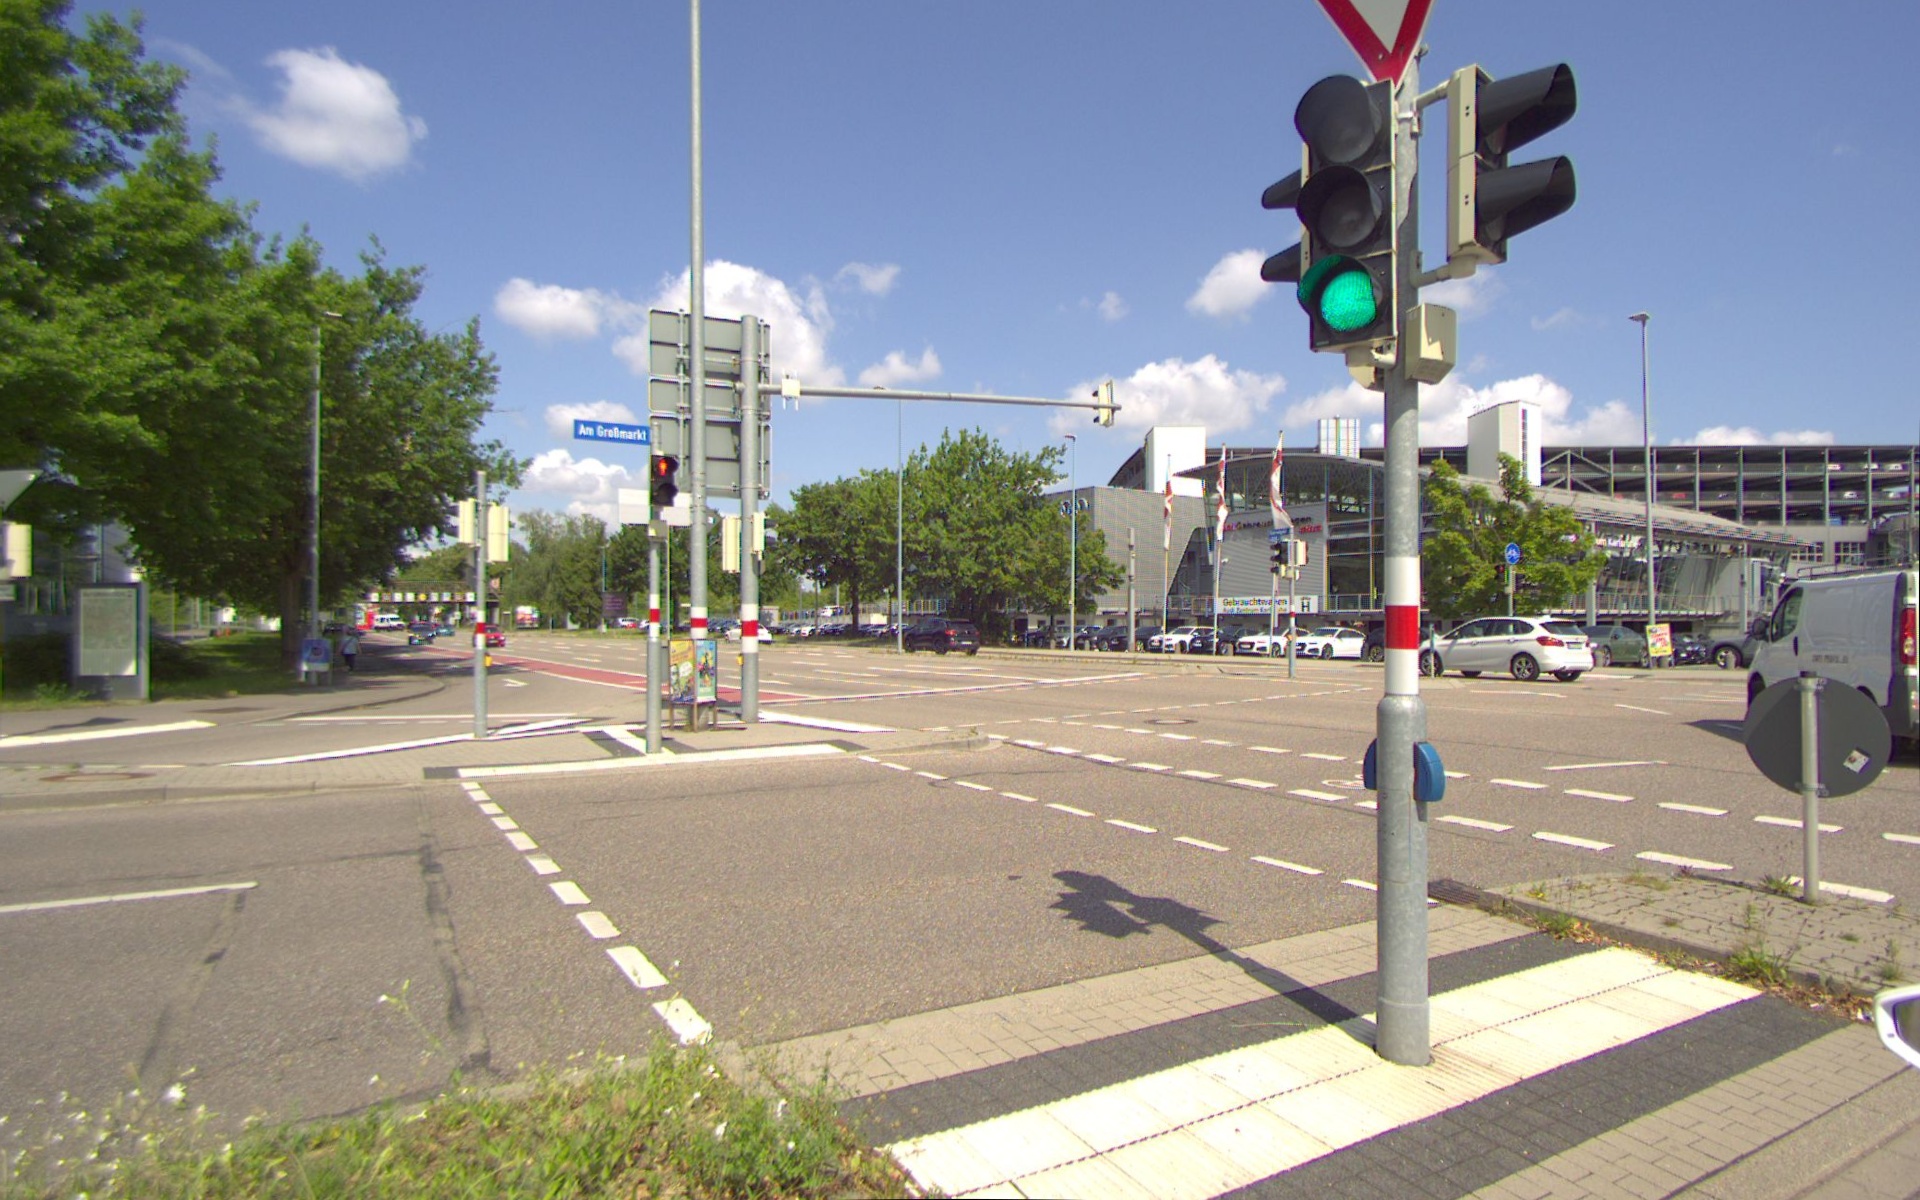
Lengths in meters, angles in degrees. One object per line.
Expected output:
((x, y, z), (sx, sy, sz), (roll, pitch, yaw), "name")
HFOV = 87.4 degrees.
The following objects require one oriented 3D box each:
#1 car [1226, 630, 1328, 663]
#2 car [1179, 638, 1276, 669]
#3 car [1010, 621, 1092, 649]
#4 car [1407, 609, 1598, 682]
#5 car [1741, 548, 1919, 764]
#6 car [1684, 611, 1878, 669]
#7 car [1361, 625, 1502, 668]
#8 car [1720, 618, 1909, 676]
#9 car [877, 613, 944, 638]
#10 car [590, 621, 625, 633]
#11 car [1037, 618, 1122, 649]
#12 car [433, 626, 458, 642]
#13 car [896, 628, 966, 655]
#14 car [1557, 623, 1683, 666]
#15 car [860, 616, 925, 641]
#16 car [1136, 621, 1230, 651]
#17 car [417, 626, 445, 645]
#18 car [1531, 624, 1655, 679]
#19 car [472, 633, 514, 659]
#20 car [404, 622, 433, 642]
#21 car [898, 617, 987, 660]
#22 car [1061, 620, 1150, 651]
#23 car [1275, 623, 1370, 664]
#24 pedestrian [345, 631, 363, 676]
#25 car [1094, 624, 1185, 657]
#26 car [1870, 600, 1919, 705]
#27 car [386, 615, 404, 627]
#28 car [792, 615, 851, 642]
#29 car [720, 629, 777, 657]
((14.061, 2.046, 44.467), (4.543, 1.314, 1.889), (2, -1, -34), "car")
((12.488, 2.475, 46.783), (4.543, 1.314, 1.889), (2, -1, -34), "car")
((5.255, 2.040, 58.033), (4.544, 1.423, 1.889), (4, -1, -34), "car")
((13.637, 1.099, 25.486), (1.754, 1.639, 3.973), (2, 0, -26), "car")
((10.878, 0.594, 11.518), (1.941, 2.087, 4.562), (1, -1, 24), "car")
((26.790, 1.266, 32.948), (1.886, 1.700, 4.549), (2, -1, -32), "car")
((18.255, 1.784, 39.076), (1.778, 1.483, 4.711), (5, -4, -34), "car")
((28.980, 1.551, 34.223), (1.886, 1.700, 4.549), (2, -1, -32), "car")
((-3.538, 1.840, 72.177), (4.543, 1.700, 1.889), (2, -1, -34), "car")
((-49.409, 3.774, 140.826), (4.327, 1.533, 1.916), (2, -1, -36), "car")
((6.698, 1.875, 55.951), (4.545, 1.423, 1.889), (6, -2, -34), "car")
((-57.956, 3.799, 113.051), (1.915, 1.778, 4.774), (2, -2, -35), "car")
((-1.976, 2.868, 69.457), (4.543, 1.700, 1.889), (2, -1, -34), "car")
((30.732, 2.064, 46.900), (1.981, 1.763, 4.507), (2, -1, -36), "car")
((-5.000, 2.105, 74.695), (4.543, 1.700, 1.889), (2, -1, -34), "car")
((10.891, 1.778, 49.058), (4.543, 1.314, 1.889), (2, -1, -34), "car")
((-54.094, 3.586, 102.670), (1.915, 1.779, 4.774), (-2, 0, -35), "car")
((21.322, 1.721, 33.775), (4.543, 1.700, 1.889), (2, -1, -34), "car")
((-32.379, 3.160, 69.621), (1.831, 1.622, 4.519), (2, -1, -35), "car")
((-43.662, 2.532, 81.106), (1.872, 1.575, 4.556), (1, -1, -26), "car")
((-0.805, 1.629, 43.277), (1.759, 1.639, 4.227), (2, -1, -34), "car")
((7.771, 1.909, 53.441), (4.544, 1.402, 1.889), (4, -2, -34), "car")
((15.253, 1.826, 42.248), (3.960, 1.483, 1.779), (5, -4, -34), "car")
((-21.429, 1.875, 35.493), (0.499, 1.576, 0.754), (1, -1, -34), "pedestrian")
((9.223, 2.105, 51.408), (4.545, 1.314, 1.889), (6, -3, -34), "car")
((15.660, 0.820, 14.821), (1.744, 1.651, 4.001), (1, -1, 17), "car")
((-87.732, 3.317, 155.948), (1.915, 1.778, 4.774), (2, -2, -35), "car")
((-11.702, 2.409, 84.957), (4.543, 2.076, 1.889), (2, 0, -34), "car")
((-12.716, 2.549, 60.164), (1.844, 1.461, 3.958), (2, -1, -36), "car")
